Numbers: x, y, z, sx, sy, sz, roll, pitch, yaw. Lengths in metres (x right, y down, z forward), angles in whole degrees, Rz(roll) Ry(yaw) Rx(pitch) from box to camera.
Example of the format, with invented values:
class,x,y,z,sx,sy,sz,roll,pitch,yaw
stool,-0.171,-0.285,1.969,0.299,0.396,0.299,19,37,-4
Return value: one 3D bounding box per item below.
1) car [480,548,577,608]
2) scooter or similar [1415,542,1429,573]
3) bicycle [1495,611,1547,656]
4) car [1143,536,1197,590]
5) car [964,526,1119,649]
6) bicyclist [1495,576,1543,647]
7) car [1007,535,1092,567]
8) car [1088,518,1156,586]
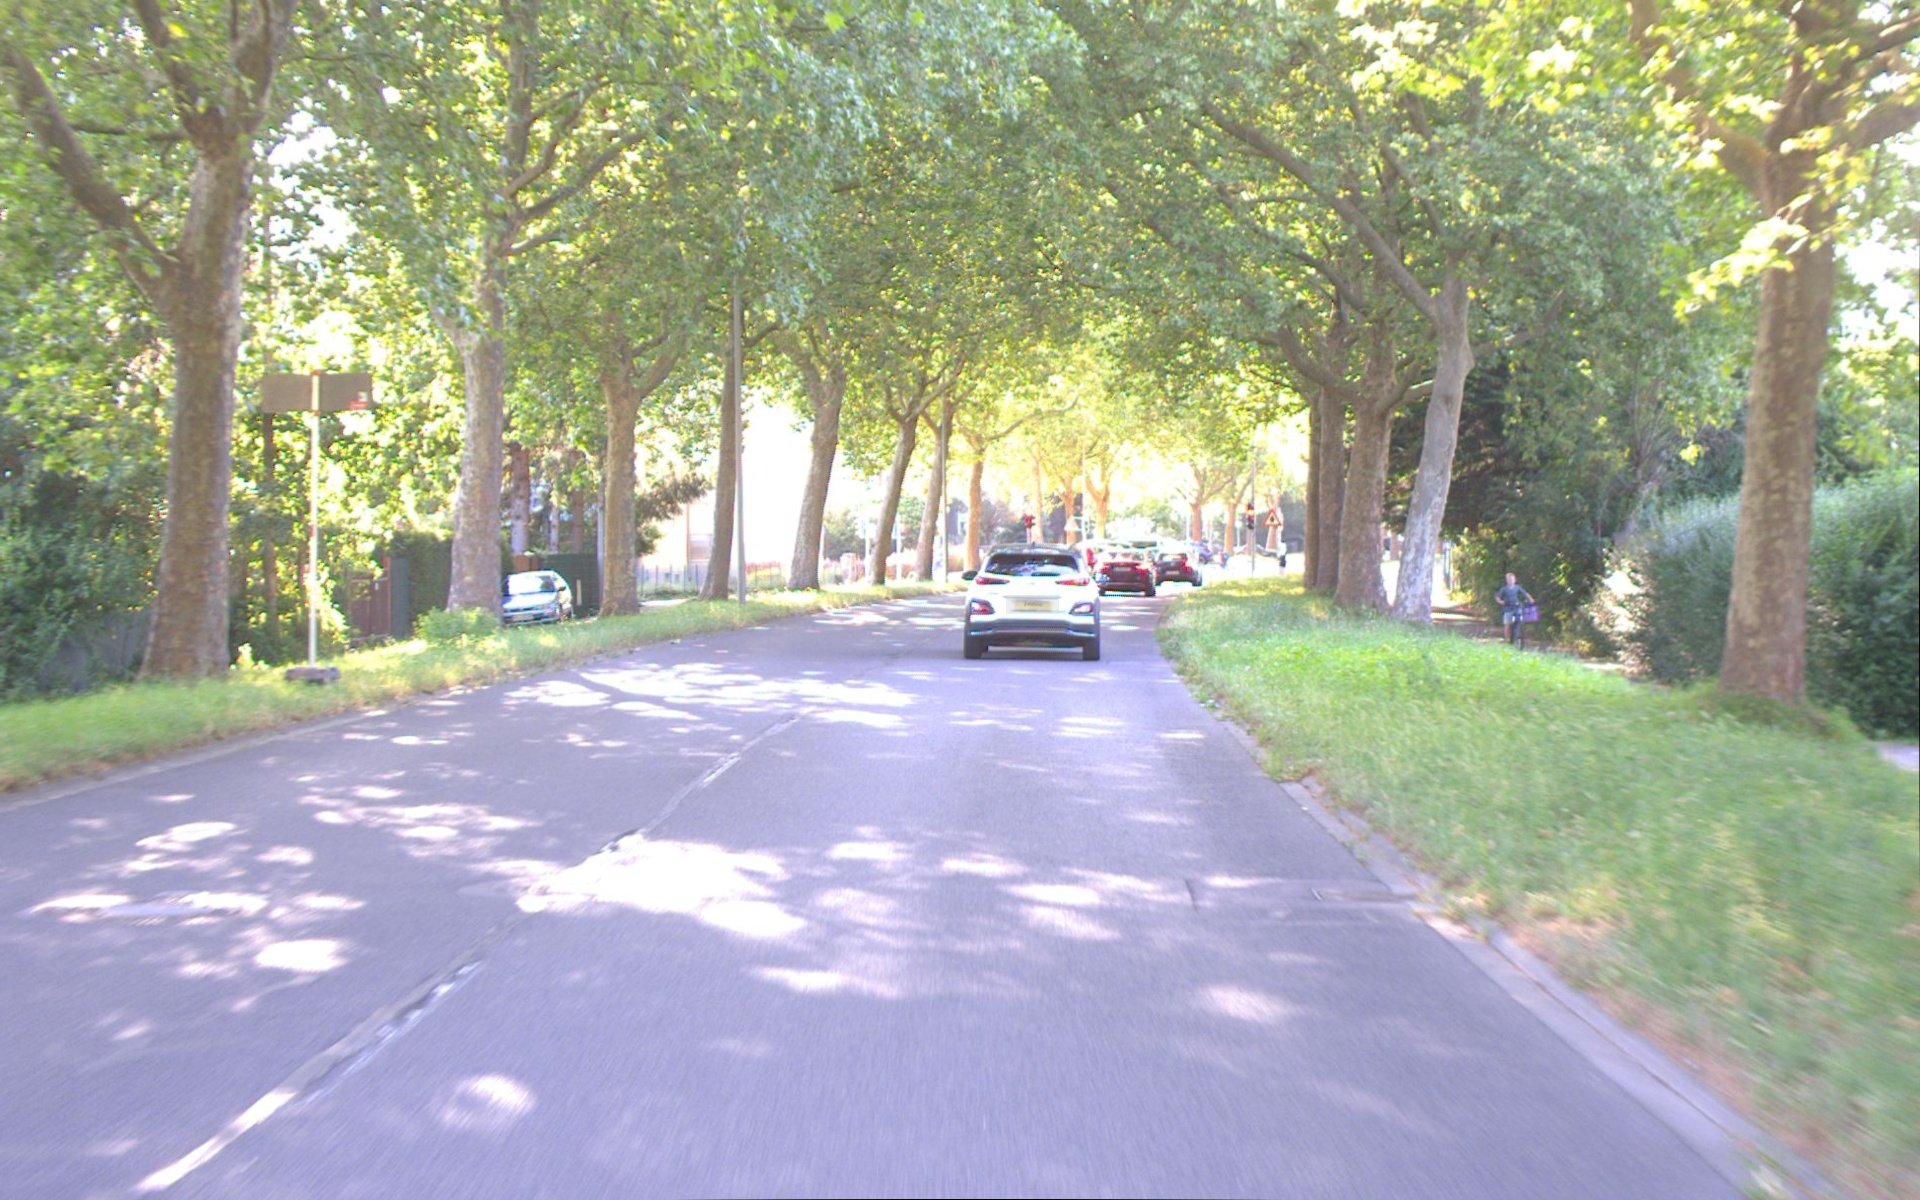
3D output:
class,x,y,z,sx,sy,sz,roll,pitch,yaw
car,-10.257,-0.546,82.032,1.752,1.300,4.000,-1,2,1
scooter or similar,18.927,-1.736,140.911,0.549,1.254,2.312,1,0,8
bicycle,10.803,0.643,66.243,0.552,0.814,1.889,1,0,-5
car,8.071,-1.397,132.031,1.994,2.007,4.000,1,0,4
car,1.138,-0.189,46.948,1.993,1.569,4.000,1,1,2
bicyclist,10.804,0.219,66.435,0.734,1.361,0.771,1,0,-4
car,4.392,-2.374,168.182,3.988,1.473,1.999,1,0,7
car,4.994,-1.451,105.283,1.994,2.007,4.000,1,0,3
